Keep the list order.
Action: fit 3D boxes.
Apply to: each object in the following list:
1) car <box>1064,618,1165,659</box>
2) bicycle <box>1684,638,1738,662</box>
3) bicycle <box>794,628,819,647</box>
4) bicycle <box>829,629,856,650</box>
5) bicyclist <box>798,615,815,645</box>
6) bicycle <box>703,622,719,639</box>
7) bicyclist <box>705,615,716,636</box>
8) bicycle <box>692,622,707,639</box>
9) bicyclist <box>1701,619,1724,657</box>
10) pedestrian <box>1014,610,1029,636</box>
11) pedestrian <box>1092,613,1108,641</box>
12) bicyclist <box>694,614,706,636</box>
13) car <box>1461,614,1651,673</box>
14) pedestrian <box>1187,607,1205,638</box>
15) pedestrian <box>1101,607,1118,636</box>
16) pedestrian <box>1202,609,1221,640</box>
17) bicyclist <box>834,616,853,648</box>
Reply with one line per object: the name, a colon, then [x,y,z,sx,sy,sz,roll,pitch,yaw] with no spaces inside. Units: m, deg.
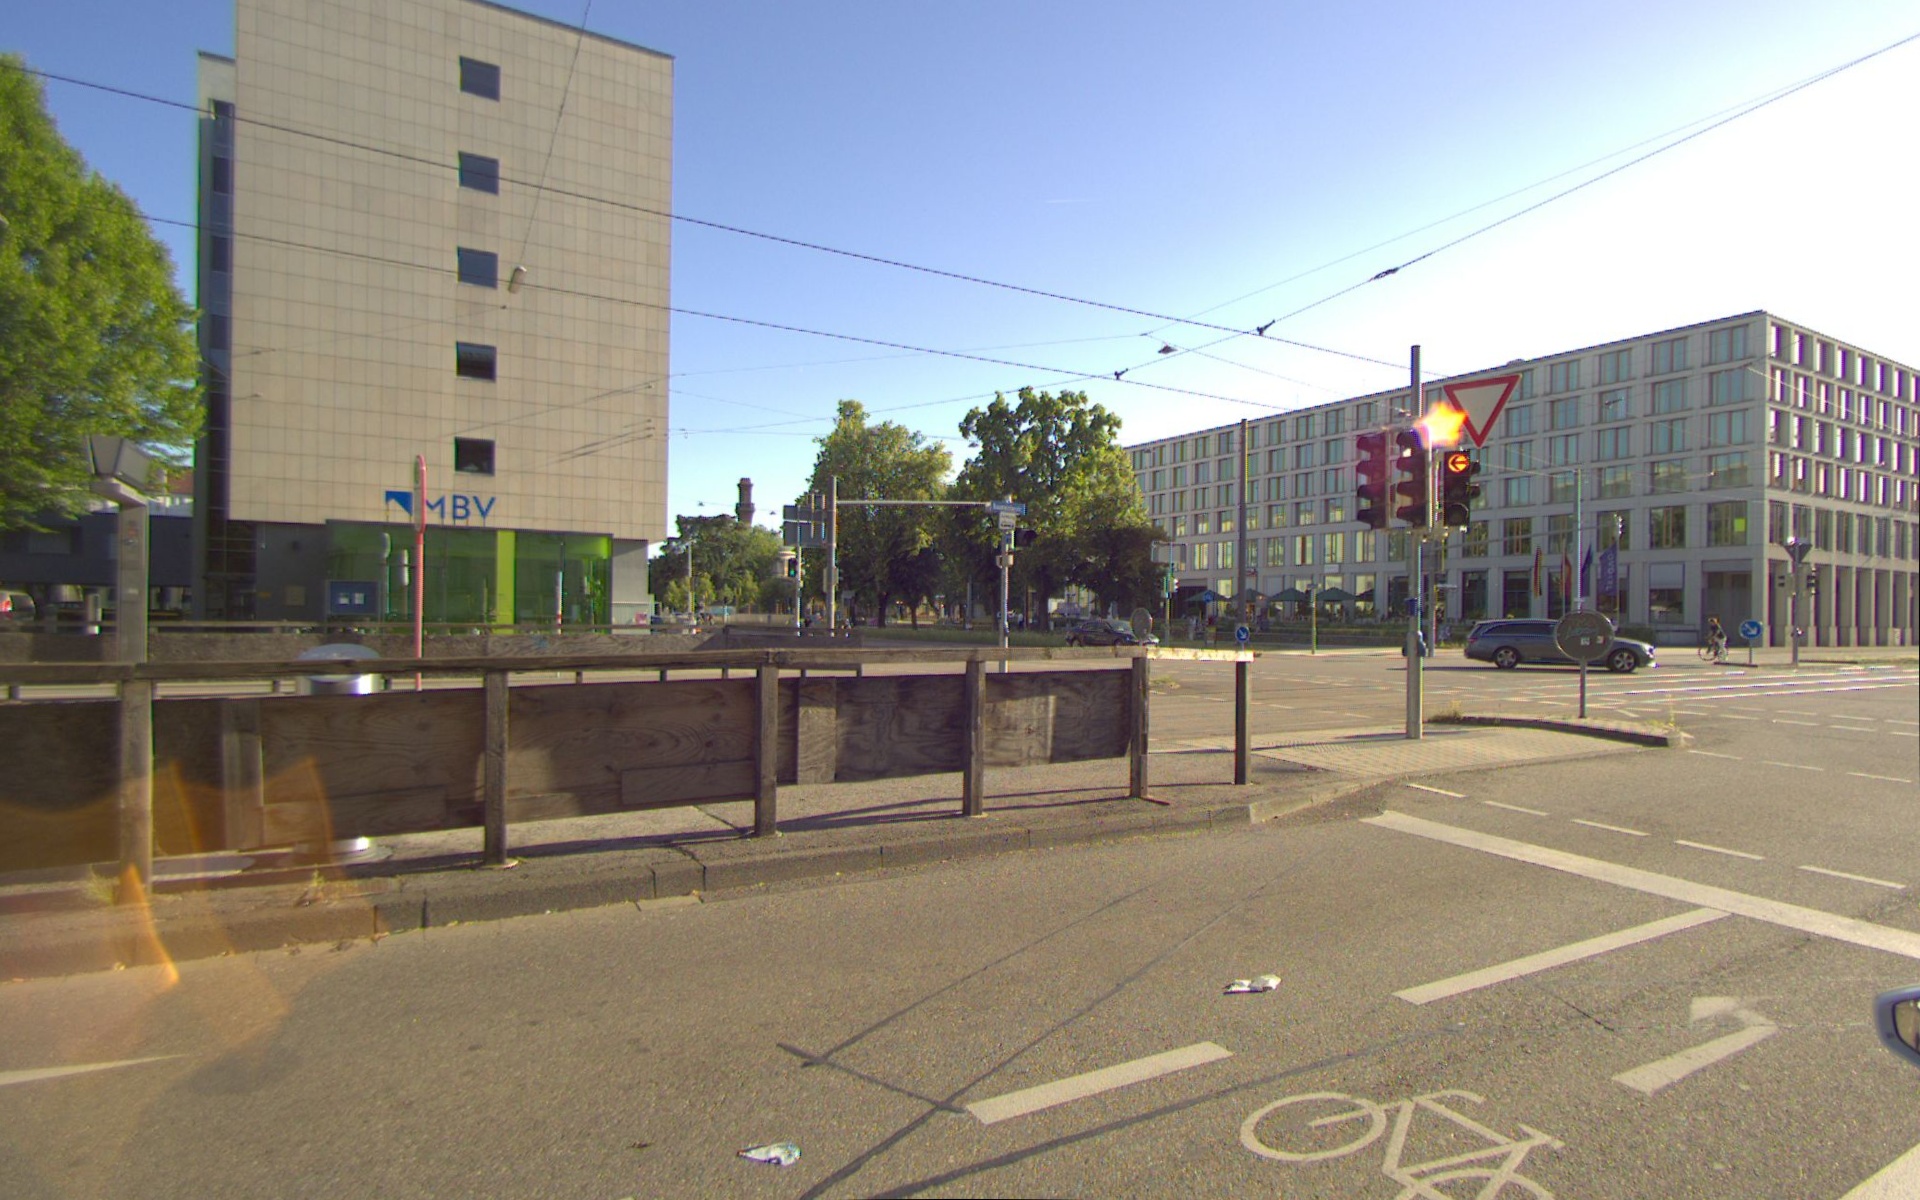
car: [6.336,1.560,41.653,1.647,1.474,4.392,1,0,-32]
bicycle: [31.857,2.103,42.625,1.833,0.947,0.760,0,-1,37]
bicycle: [-7.894,1.902,51.626,0.554,0.947,1.846,1,-1,-34]
bicycle: [-5.584,1.867,47.793,0.638,0.947,1.735,1,-1,-30]
bicyclist: [-7.905,1.525,51.644,0.600,1.544,0.758,1,-1,-34]
bicycle: [-18.137,2.221,73.097,0.616,1.148,1.869,1,-1,-31]
bicyclist: [-18.190,1.869,73.162,0.602,1.544,0.709,1,-1,-32]
bicycle: [-18.779,2.186,72.431,0.574,1.148,1.776,1,-1,-31]
bicyclist: [31.893,1.601,42.550,0.765,1.610,0.758,0,-1,38]
pedestrian: [4.940,1.813,80.764,0.813,2.040,0.840,2,0,-24]
pedestrian: [10.027,1.939,71.946,0.867,1.925,0.710,2,0,-37]
bicyclist: [-18.772,1.793,72.516,0.647,1.544,0.615,1,-1,-32]
car: [17.601,1.245,29.938,4.720,1.586,1.895,0,-1,29]
pedestrian: [15.426,1.470,65.696,0.812,2.040,0.841,2,0,-20]
pedestrian: [10.773,1.570,72.521,0.817,2.040,0.836,2,0,-37]
pedestrian: [15.854,1.537,63.439,0.862,1.925,0.714,2,0,-23]
bicyclist: [-5.559,1.520,47.739,0.610,1.470,0.794,1,-1,-31]
